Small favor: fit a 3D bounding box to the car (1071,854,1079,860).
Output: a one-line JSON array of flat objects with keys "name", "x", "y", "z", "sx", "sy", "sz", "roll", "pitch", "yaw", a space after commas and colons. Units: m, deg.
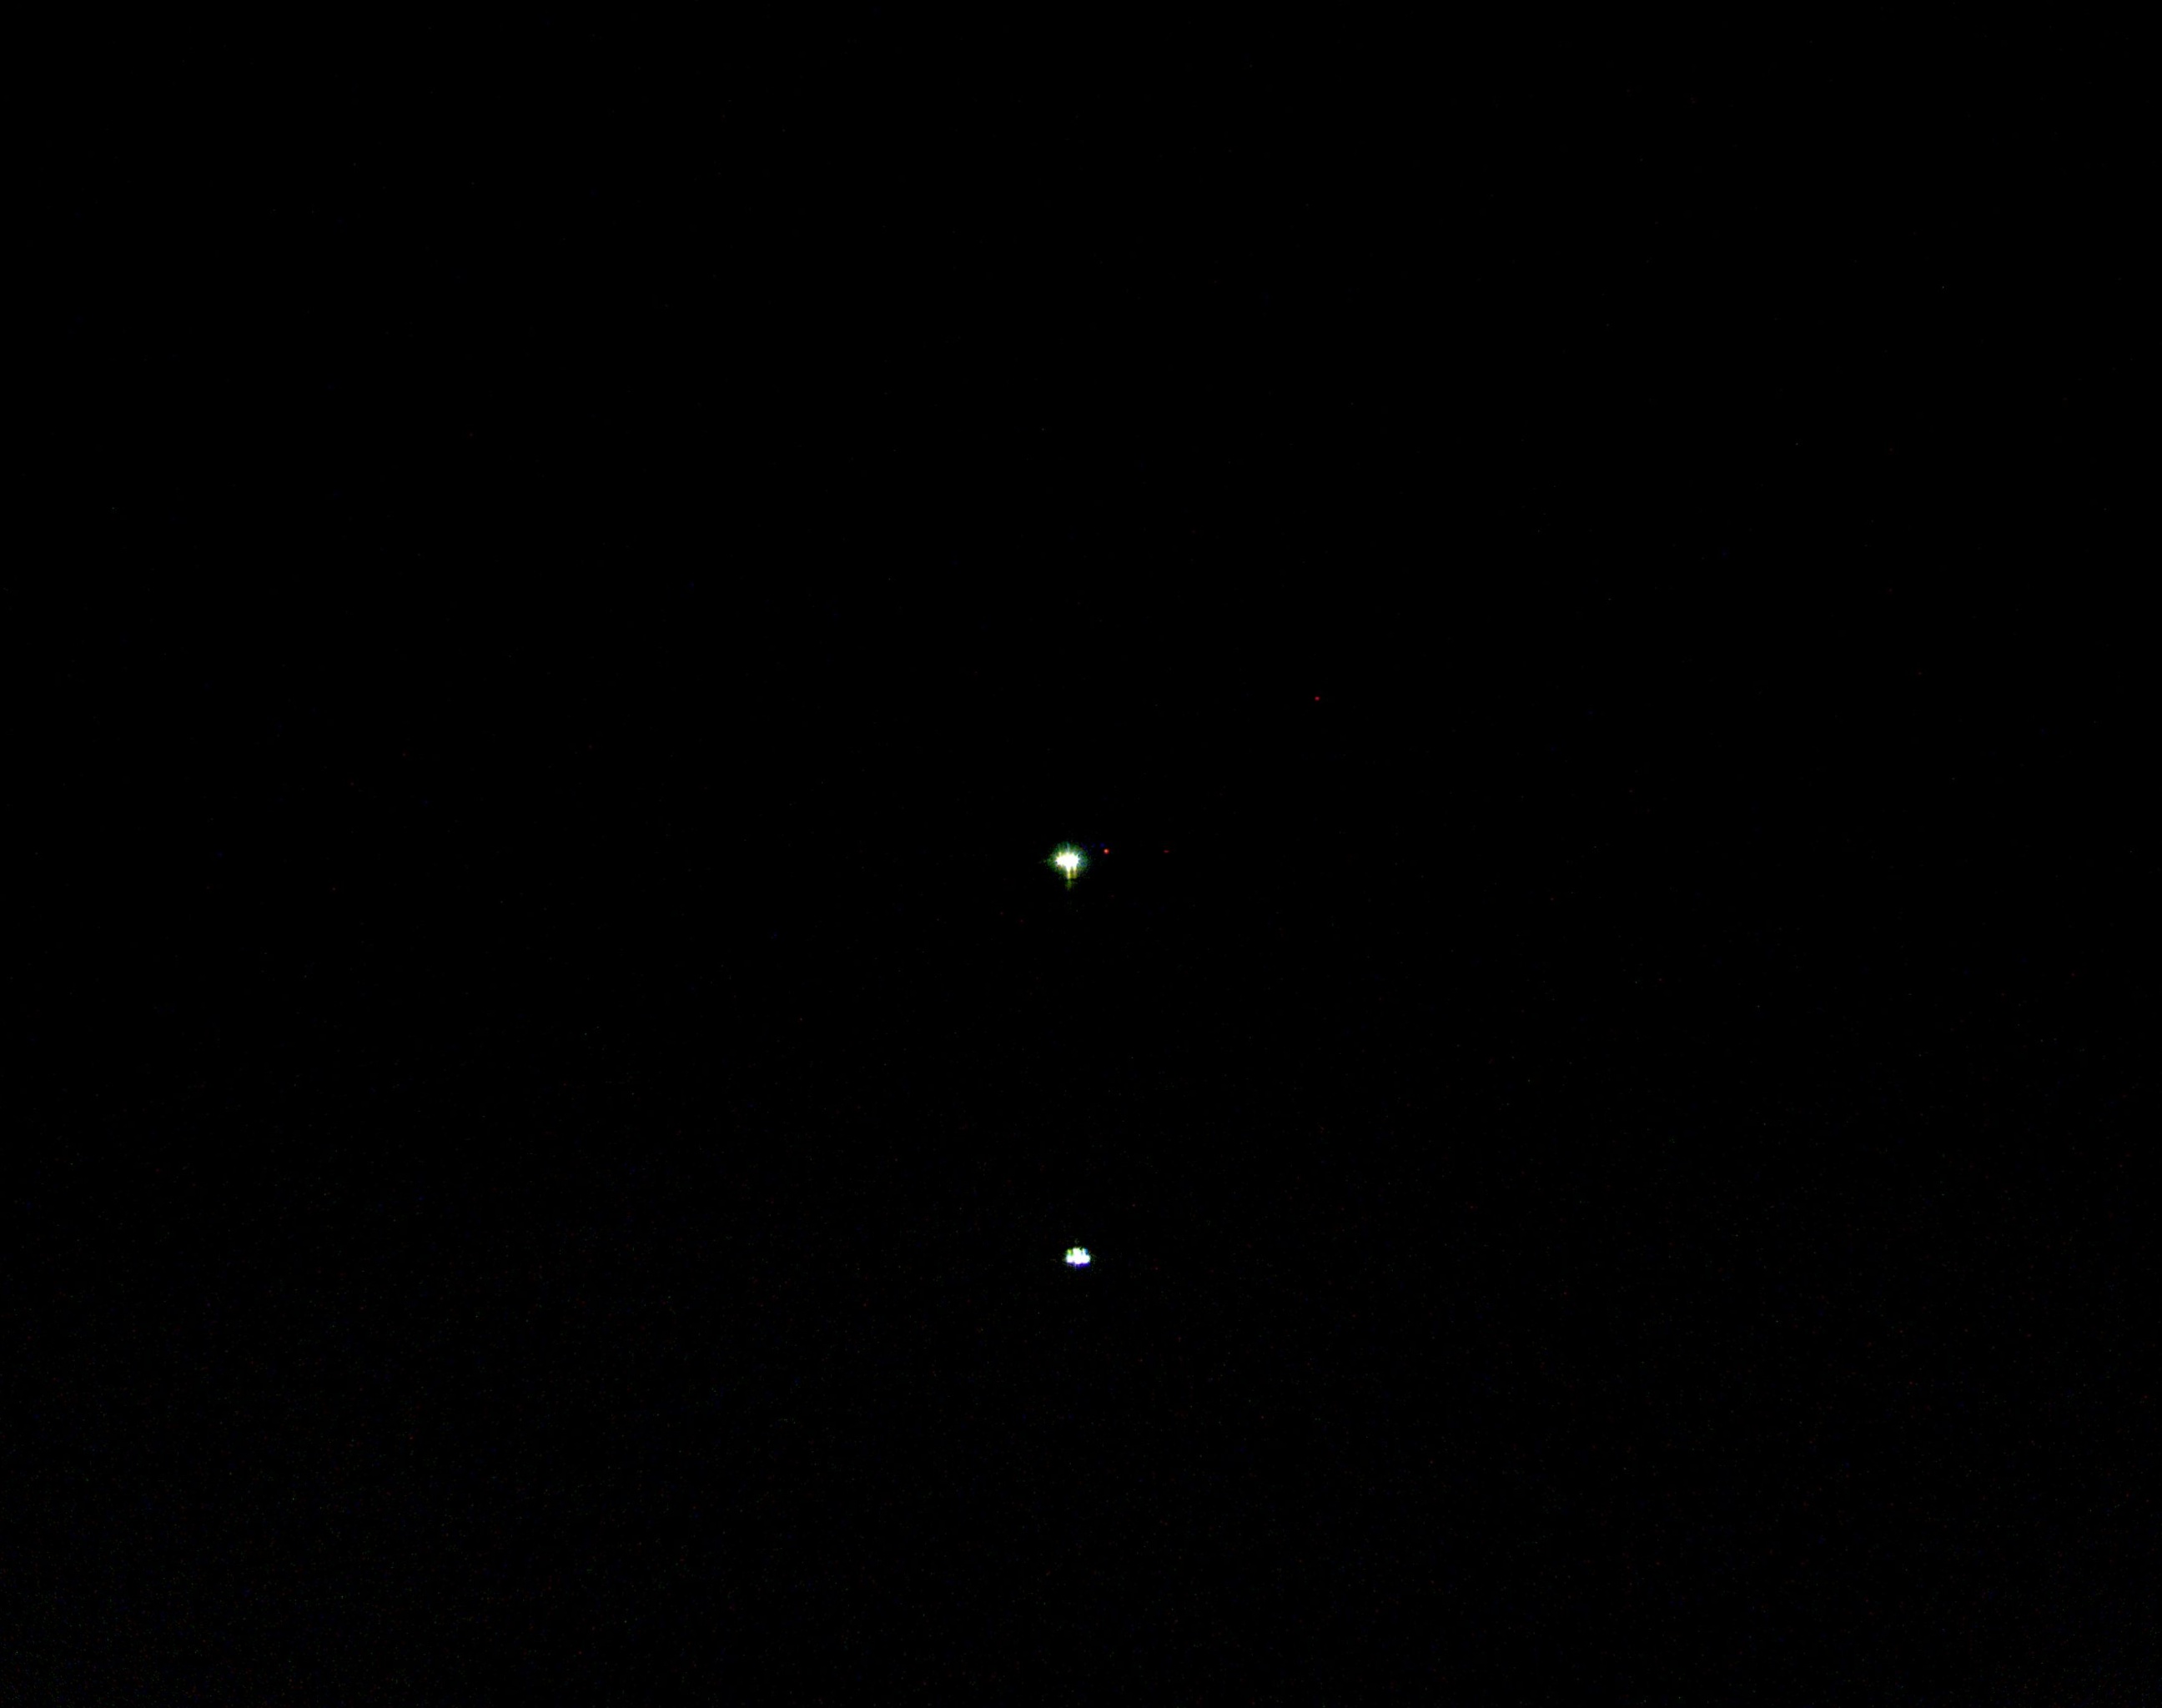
[{"name": "car", "x": -1.516, "y": 0.722, "z": 186.282, "sx": 1.846, "sy": 1.474, "sz": 4.293, "roll": -2, "pitch": -1, "yaw": -2}]
